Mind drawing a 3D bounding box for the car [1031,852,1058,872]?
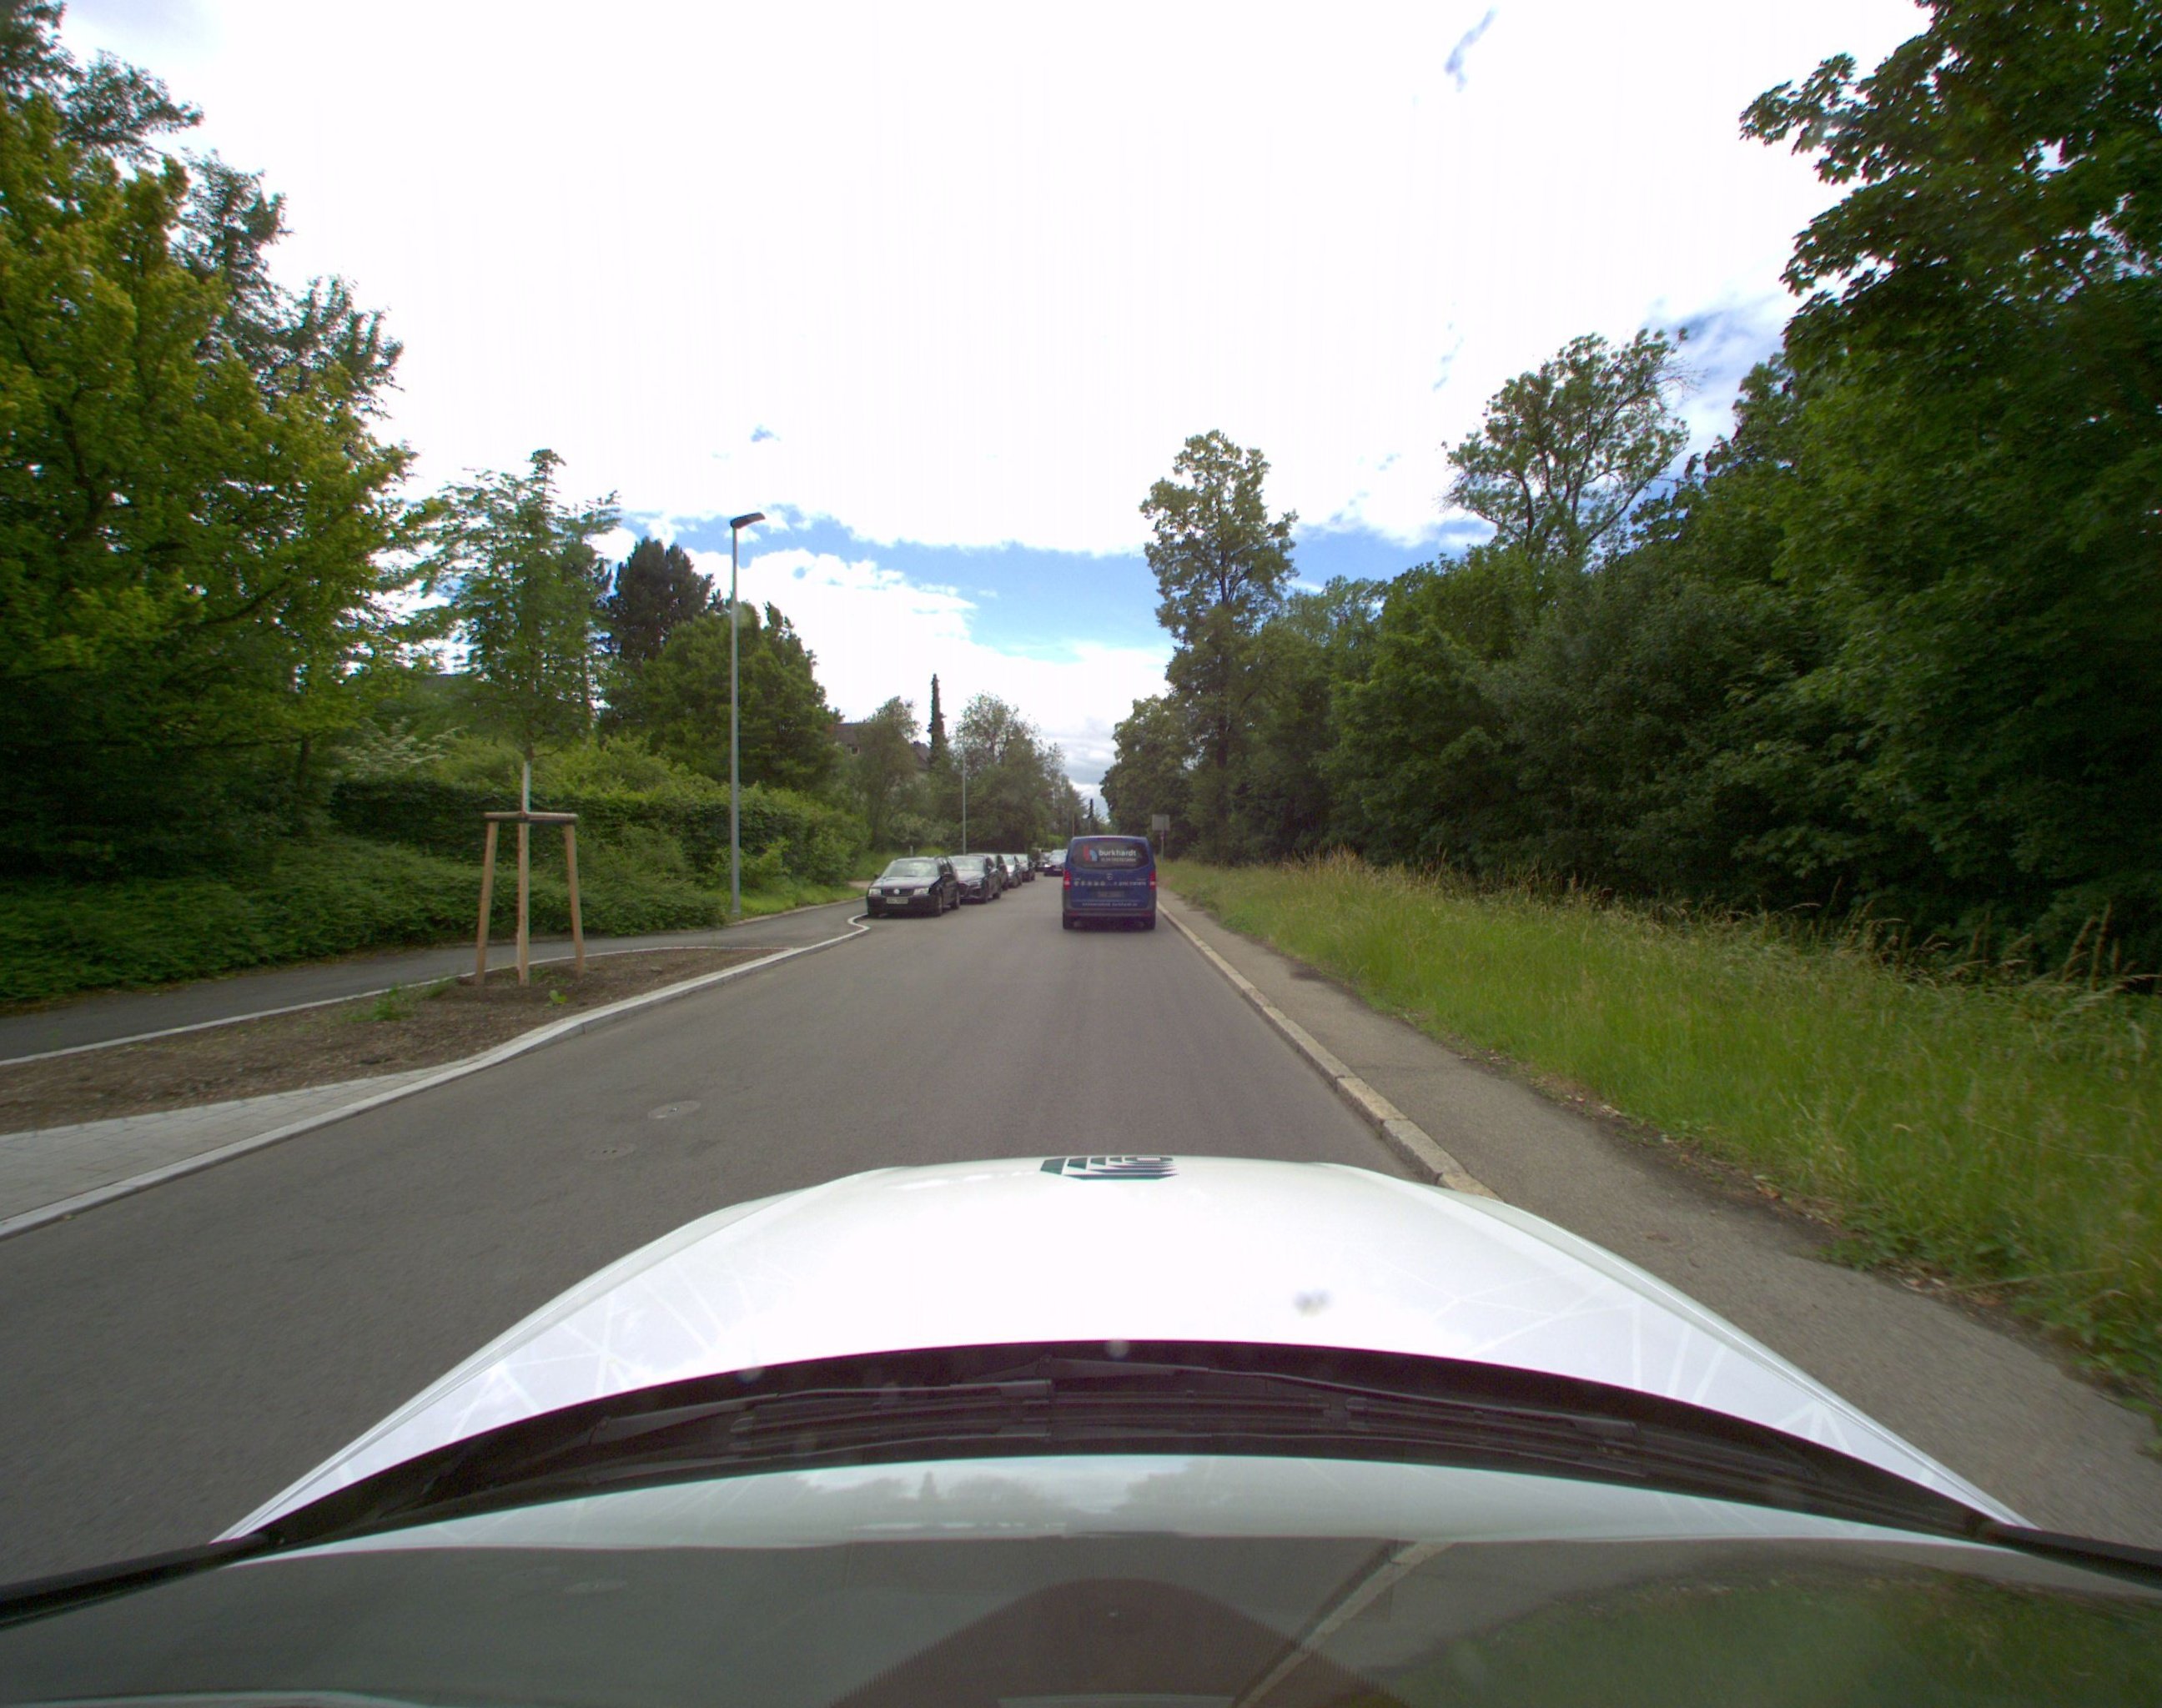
[{"bbox_3d":[-2.751,0.583,62.629,1.616,1.450,3.973,0,0,3],"label":"car"}]

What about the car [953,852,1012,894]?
[{"bbox_3d":[-3.673,0.669,31.026,1.618,1.482,4.002,-1,0,2],"label":"car"}]

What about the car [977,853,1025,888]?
[{"bbox_3d":[-3.456,0.678,35.918,1.618,1.432,4.351,-1,0,1],"label":"car"}]

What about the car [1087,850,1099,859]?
[{"bbox_3d":[2.193,0.083,152.729,1.827,1.631,4.307,2,0,5],"label":"car"}]

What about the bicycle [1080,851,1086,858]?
[{"bbox_3d":[0.368,0.141,149.911,0.902,1.251,2.920,3,0,5],"label":"bicycle"}]

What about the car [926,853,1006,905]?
[{"bbox_3d":[-3.533,0.720,25.798,1.699,1.482,4.498,-1,0,2],"label":"car"}]

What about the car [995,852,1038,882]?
[{"bbox_3d":[-3.303,0.643,42.408,1.772,1.432,5.106,0,0,1],"label":"car"}]

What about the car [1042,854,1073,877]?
[{"bbox_3d":[-1.472,0.703,52.365,1.774,1.426,4.490,0,0,1],"label":"car"}]

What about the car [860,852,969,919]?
[{"bbox_3d":[-4.098,0.715,20.836,1.676,1.482,4.695,-1,0,2],"label":"car"}]

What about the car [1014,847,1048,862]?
[{"bbox_3d":[-6.040,0.079,98.761,3.665,1.637,1.835,1,0,15],"label":"car"}]

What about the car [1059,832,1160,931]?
[{"bbox_3d":[0.529,0.469,17.446,1.883,1.844,3.999,1,1,-1],"label":"car"}]
